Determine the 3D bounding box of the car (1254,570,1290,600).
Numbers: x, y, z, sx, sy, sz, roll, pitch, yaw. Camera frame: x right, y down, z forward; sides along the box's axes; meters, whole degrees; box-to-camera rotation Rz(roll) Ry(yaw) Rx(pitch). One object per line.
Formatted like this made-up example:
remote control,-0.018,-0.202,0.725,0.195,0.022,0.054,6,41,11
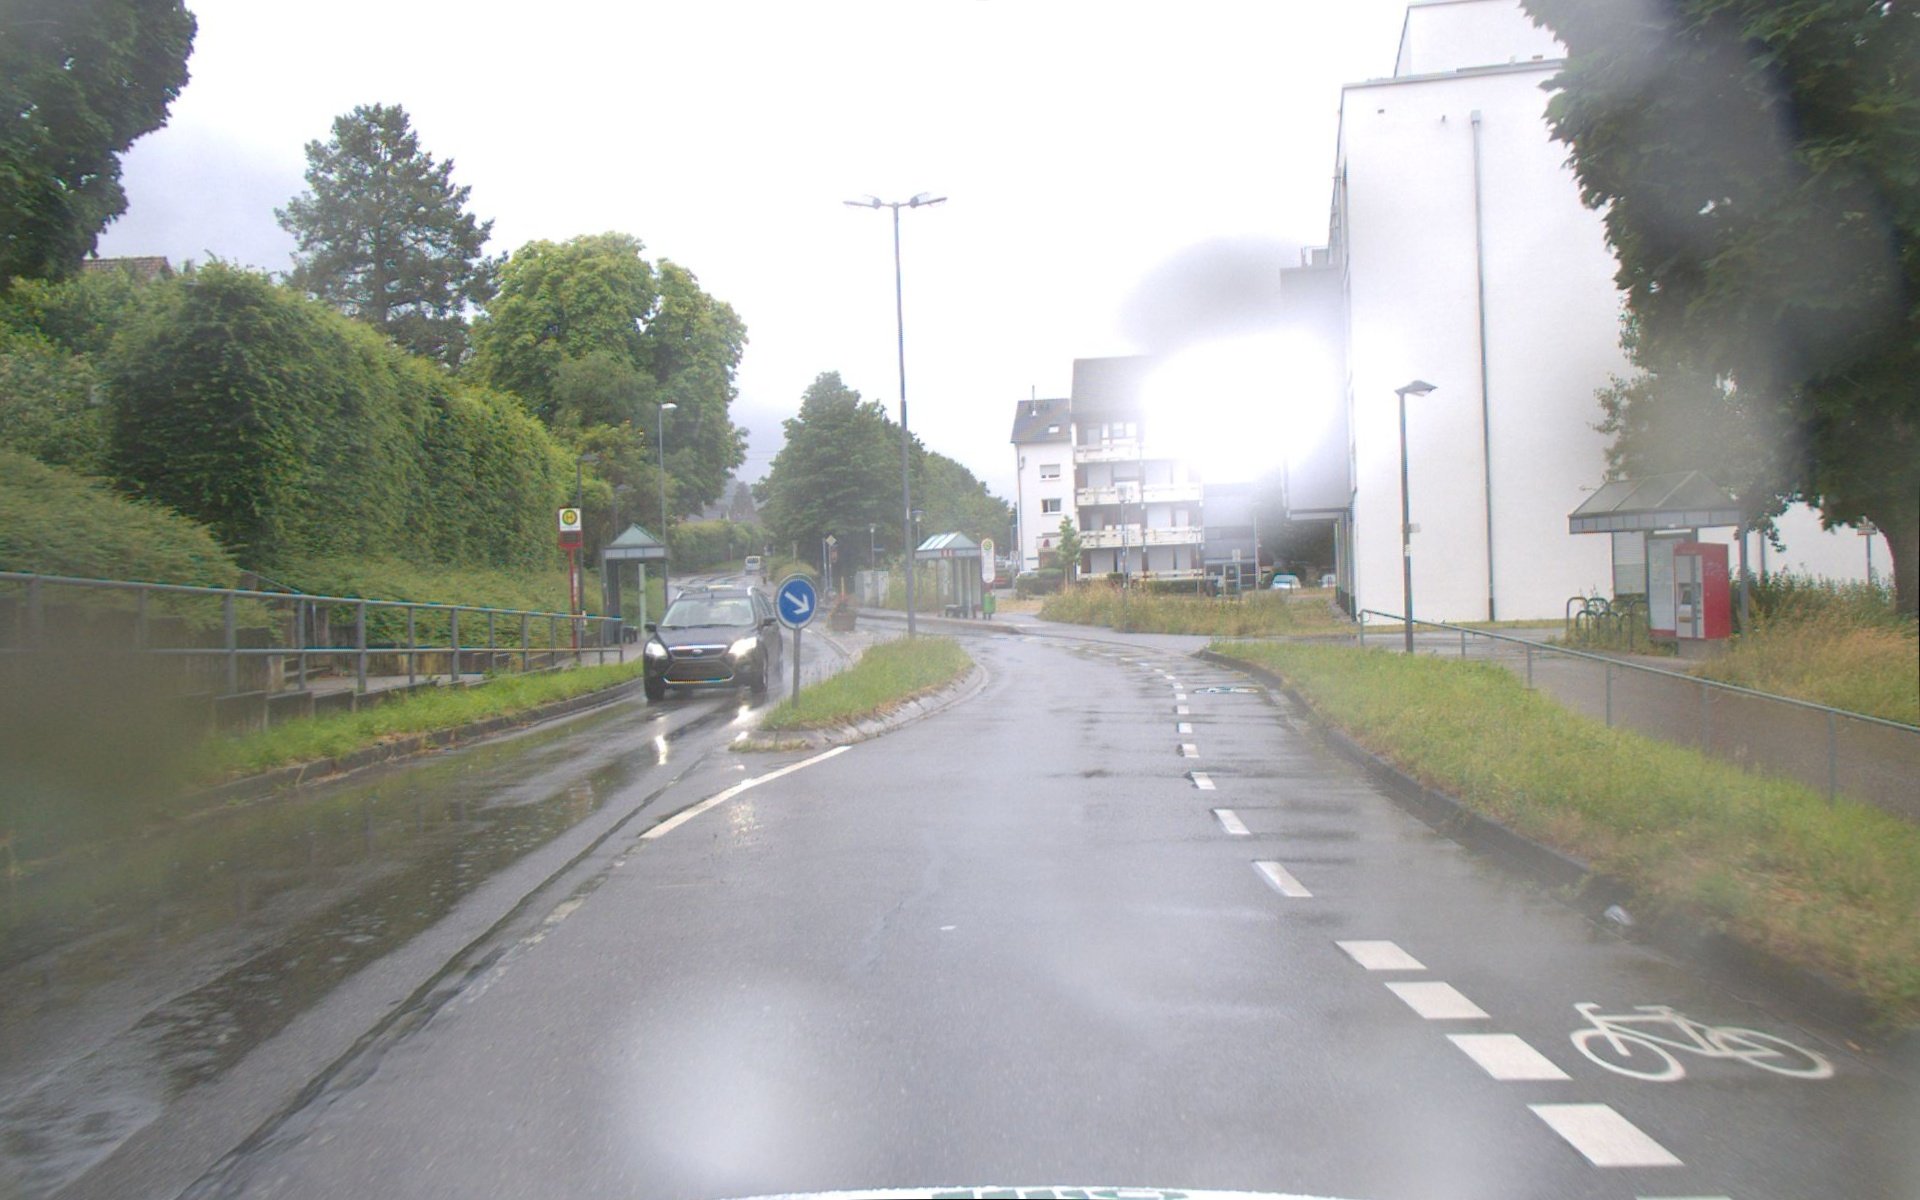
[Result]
car,16.837,-0.779,89.307,1.679,1.466,3.709,-1,-1,7

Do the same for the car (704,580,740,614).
car,-11.078,-0.179,76.866,1.543,1.434,3.467,-4,1,-9

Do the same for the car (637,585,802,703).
car,-3.536,0.588,25.013,1.724,1.529,4.142,-3,1,1

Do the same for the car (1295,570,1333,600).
car,18.988,-0.807,88.772,1.679,1.466,3.709,-1,-1,7
